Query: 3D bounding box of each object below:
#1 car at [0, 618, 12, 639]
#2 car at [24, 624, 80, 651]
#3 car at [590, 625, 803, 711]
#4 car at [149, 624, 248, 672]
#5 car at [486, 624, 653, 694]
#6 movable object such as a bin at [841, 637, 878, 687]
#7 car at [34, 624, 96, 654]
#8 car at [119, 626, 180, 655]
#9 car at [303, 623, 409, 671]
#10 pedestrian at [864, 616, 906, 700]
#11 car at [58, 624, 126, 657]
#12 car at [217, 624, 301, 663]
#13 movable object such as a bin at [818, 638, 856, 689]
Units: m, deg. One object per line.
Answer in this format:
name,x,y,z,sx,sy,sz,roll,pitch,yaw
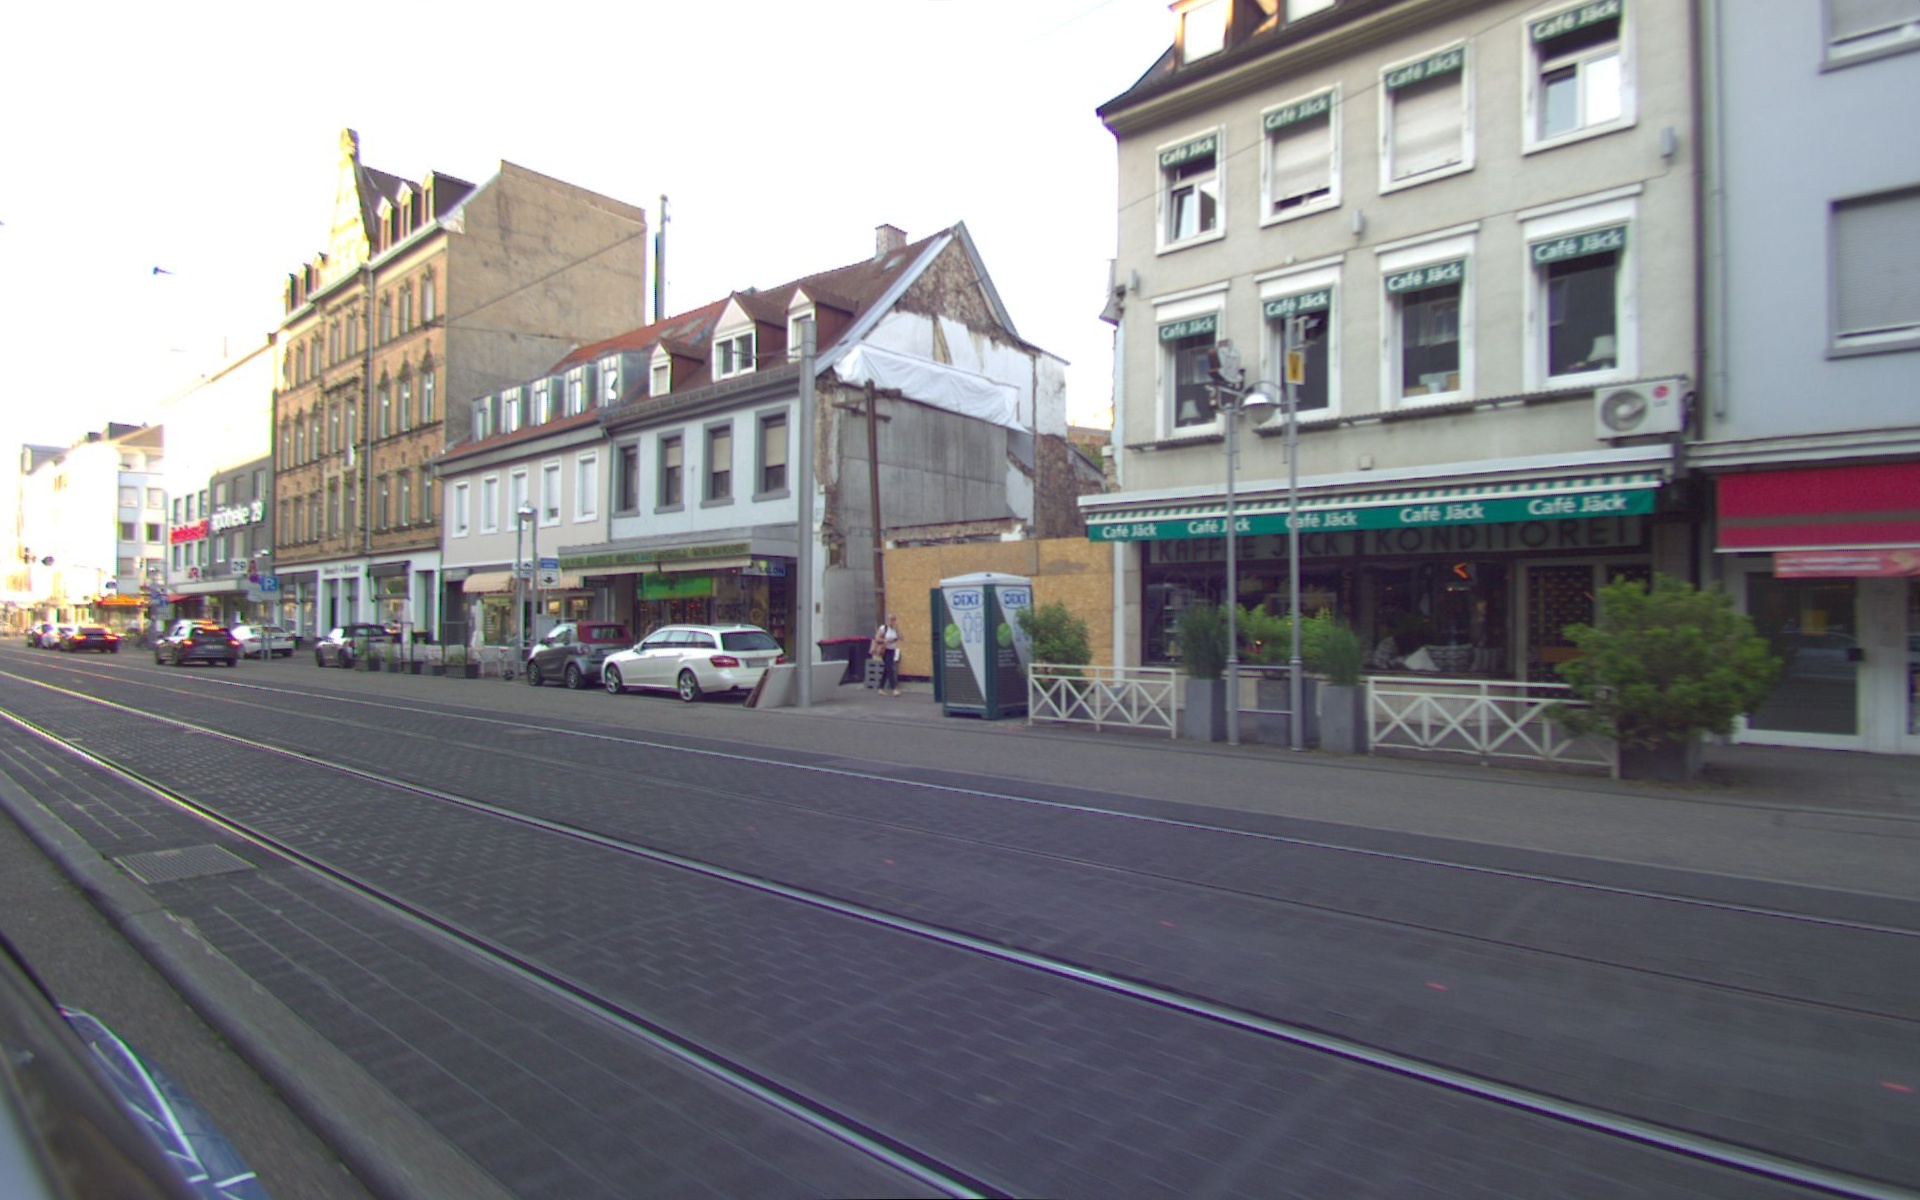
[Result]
car,-92.862,2.737,97.399,3.998,2.051,1.973,-1,-2,41
car,-53.146,2.168,59.219,3.998,1.564,1.973,-1,-2,41
car,-5.587,1.316,21.095,4.877,1.556,1.972,-1,-1,42
car,-26.479,1.620,35.156,3.998,1.564,1.973,-1,-2,41
car,-9.572,1.369,24.627,4.550,1.556,1.889,-1,-2,41
movable object such as a bin,-2.334,1.430,23.608,0.615,1.130,0.611,-2,-2,45
car,-48.376,2.106,54.672,3.998,1.564,1.973,-1,-2,41
car,-45.417,2.214,56.680,3.998,1.564,1.973,-1,-2,41
car,-20.848,1.587,34.875,3.998,1.564,1.973,-1,-2,41
pedestrian,-1.507,1.159,20.407,0.615,1.647,0.592,-2,-2,45
car,-42.835,1.978,49.904,3.998,1.564,1.973,-1,-2,41
car,-29.734,1.795,42.884,4.204,1.564,1.973,-1,-2,41
movable object such as a bin,-2.816,1.438,23.156,0.615,1.130,0.611,-2,-2,45
